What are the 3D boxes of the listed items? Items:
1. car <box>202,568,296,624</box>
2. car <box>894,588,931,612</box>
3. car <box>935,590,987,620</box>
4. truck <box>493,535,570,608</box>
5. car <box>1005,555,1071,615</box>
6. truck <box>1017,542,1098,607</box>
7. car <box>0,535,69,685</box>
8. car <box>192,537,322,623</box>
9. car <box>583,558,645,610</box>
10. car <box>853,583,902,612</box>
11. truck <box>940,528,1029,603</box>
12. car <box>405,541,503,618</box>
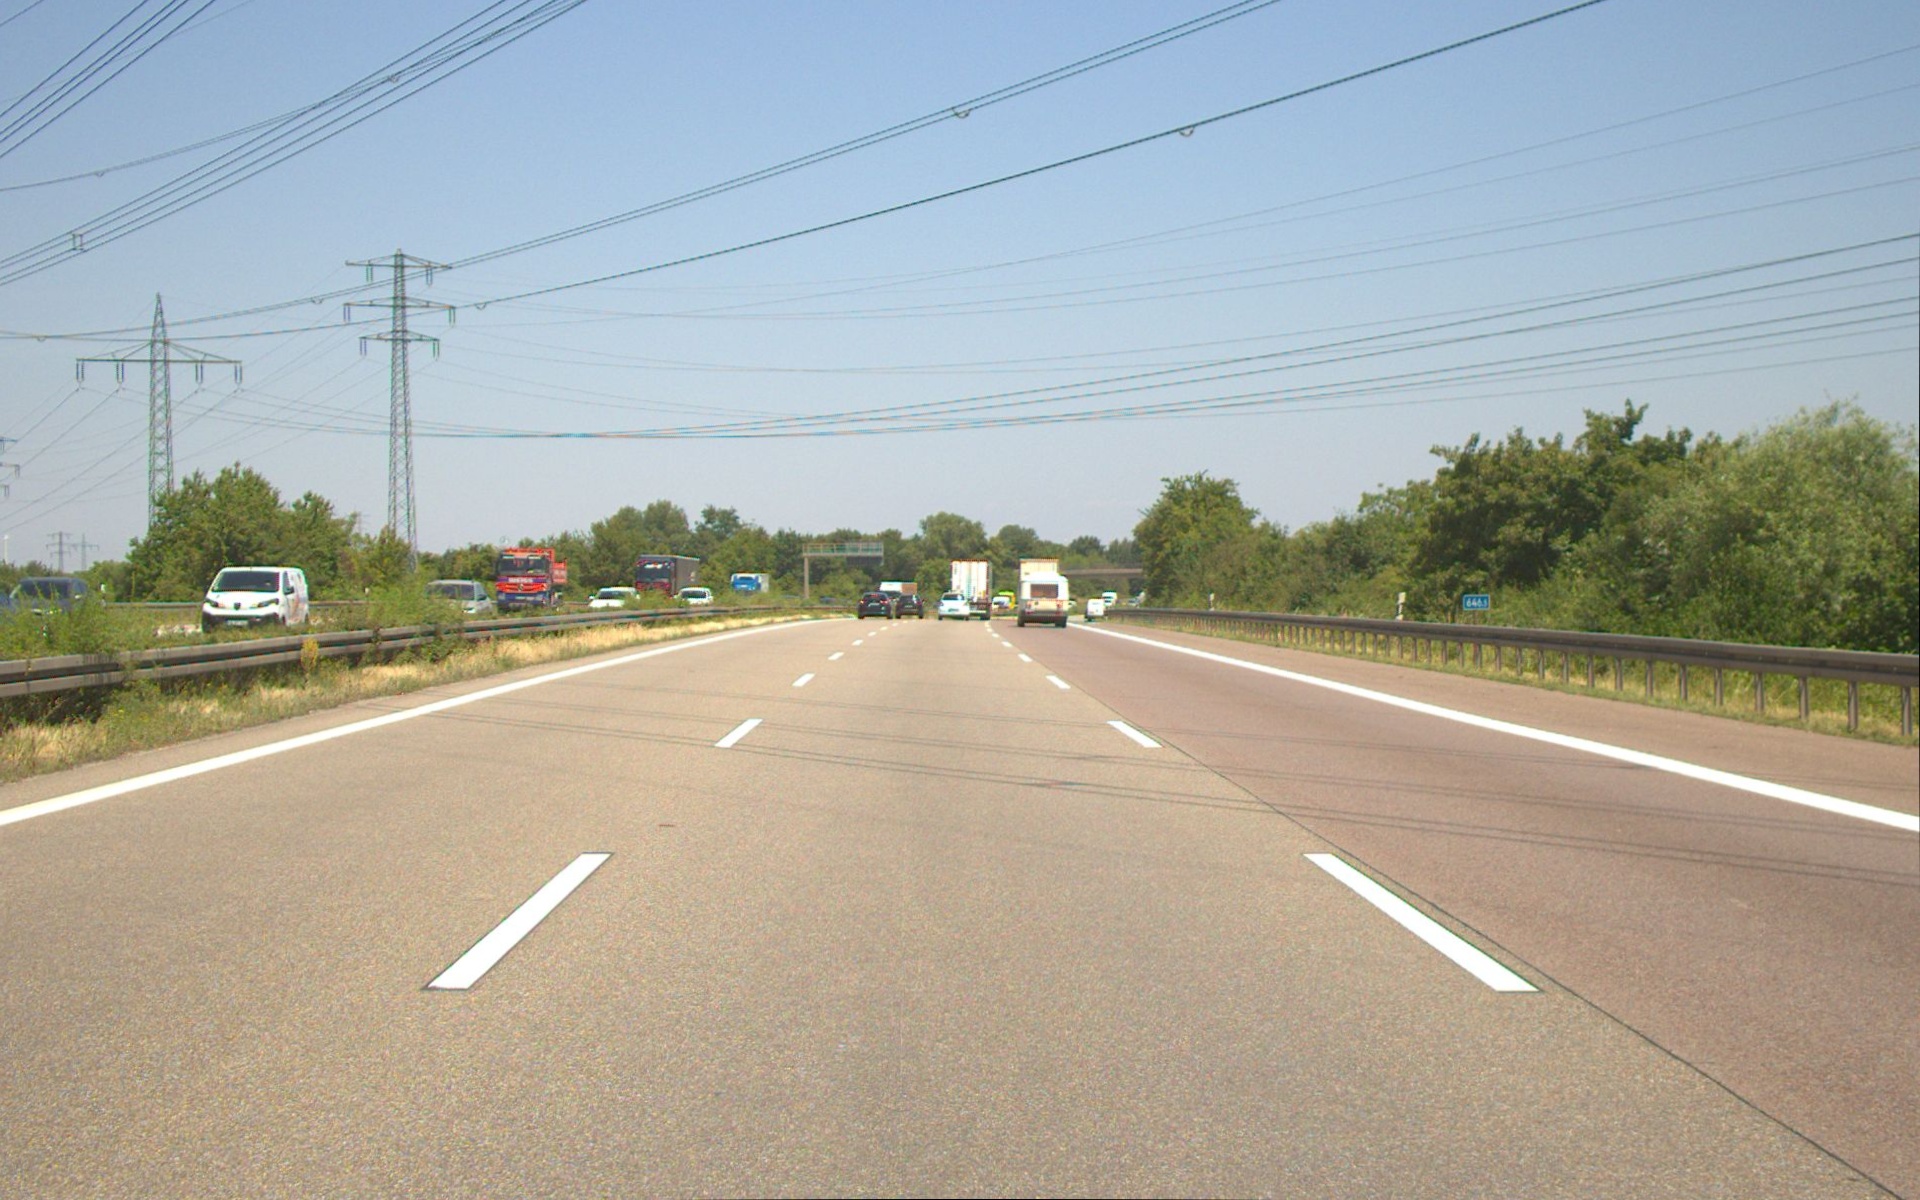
[{"bbox_3d":[-21.764,-0.150,105.410,1.993,1.656,5.089,-1,1,-2],"label":"car"},{"bbox_3d":[-3.253,-0.017,236.135,1.828,1.542,4.317,2,0,9],"label":"car"},{"bbox_3d":[0.082,0.275,188.677,1.829,1.542,4.316,2,0,14],"label":"car"},{"bbox_3d":[-21.454,-1.468,172.415,2.770,3.515,8.533,1,1,0],"label":"truck"},{"bbox_3d":[3.108,-0.627,138.321,2.442,2.313,5.322,0,1,-1],"label":"car"},{"bbox_3d":[6.767,-1.820,236.335,3.182,4.290,16.010,1,1,10],"label":"truck"},{"bbox_3d":[-13.899,0.109,46.906,1.993,2.007,5.701,1,1,0],"label":"car"},{"bbox_3d":[-17.187,-0.527,84.292,1.993,2.007,5.701,1,1,0],"label":"car"},{"bbox_3d":[-13.935,-0.655,138.647,1.993,2.007,4.921,1,1,0],"label":"car"},{"bbox_3d":[-4.491,-0.148,187.058,1.828,1.542,4.317,2,0,9],"label":"car"},{"bbox_3d":[1.813,-2.478,240.848,3.668,5.001,16.011,1,1,10],"label":"truck"},{"bbox_3d":[-13.857,-0.589,94.363,1.993,2.007,4.627,1,1,0],"label":"car"}]
